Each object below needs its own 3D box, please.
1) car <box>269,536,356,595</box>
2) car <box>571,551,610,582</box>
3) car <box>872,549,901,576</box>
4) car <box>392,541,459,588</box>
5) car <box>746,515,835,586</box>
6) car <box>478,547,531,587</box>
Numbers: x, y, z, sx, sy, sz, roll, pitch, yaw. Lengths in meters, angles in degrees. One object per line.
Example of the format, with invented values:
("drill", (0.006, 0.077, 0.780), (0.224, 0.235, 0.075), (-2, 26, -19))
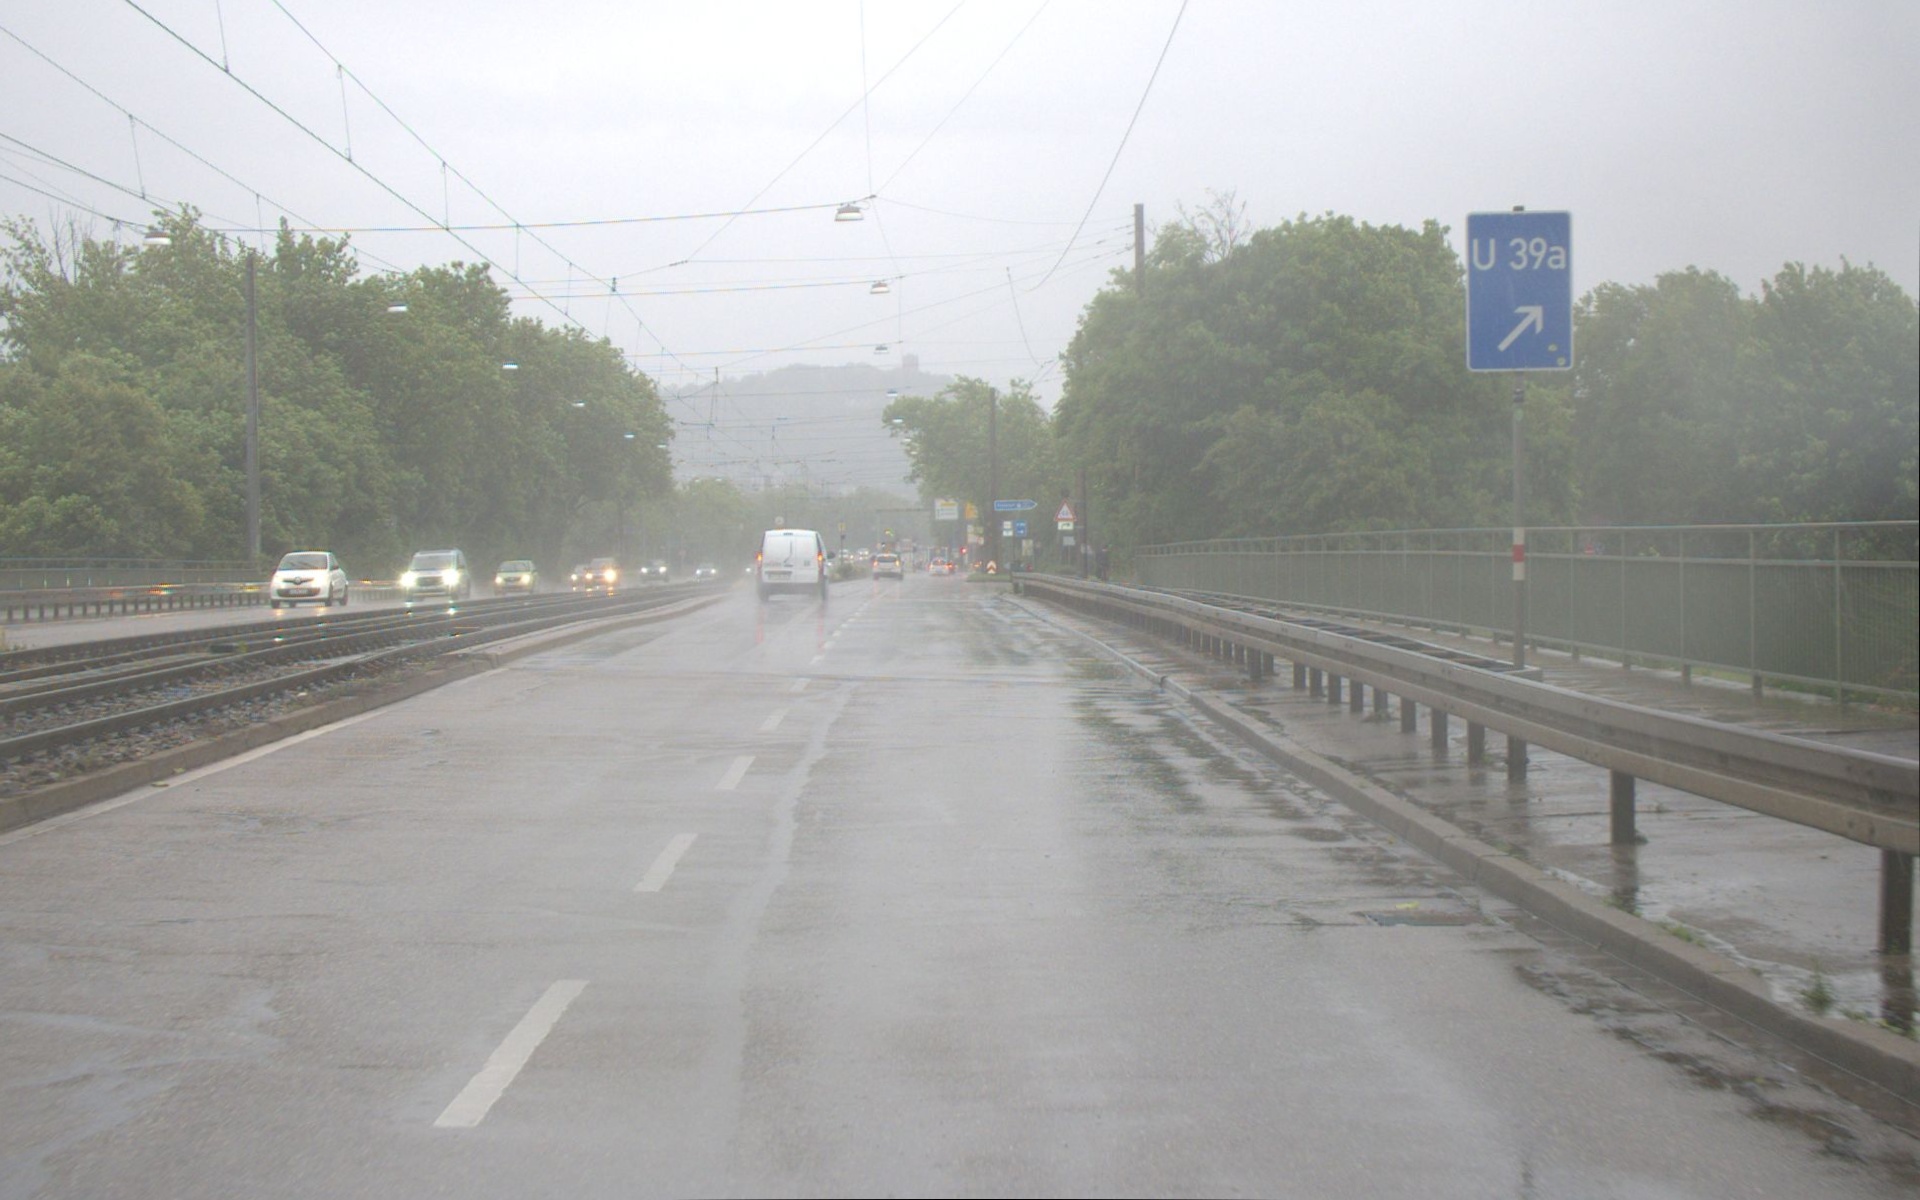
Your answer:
("car", (-18.007, -0.977, 95.716), (1.743, 1.503, 3.700), (1, 2, -1))
("car", (-19.600, -1.804, 182.451), (1.743, 1.503, 3.700), (1, 2, -1))
("car", (-4.523, -2.336, 212.929), (1.743, 1.503, 3.700), (1, 2, -1))
("car", (-18.225, -1.225, 117.332), (1.743, 1.503, 3.700), (1, 2, -1))
("car", (-4.266, -1.275, 87.007), (1.989, 1.678, 3.740), (1, 2, 1))
("car", (-18.963, -1.382, 143.177), (1.743, 1.503, 3.700), (1, 2, -1))
